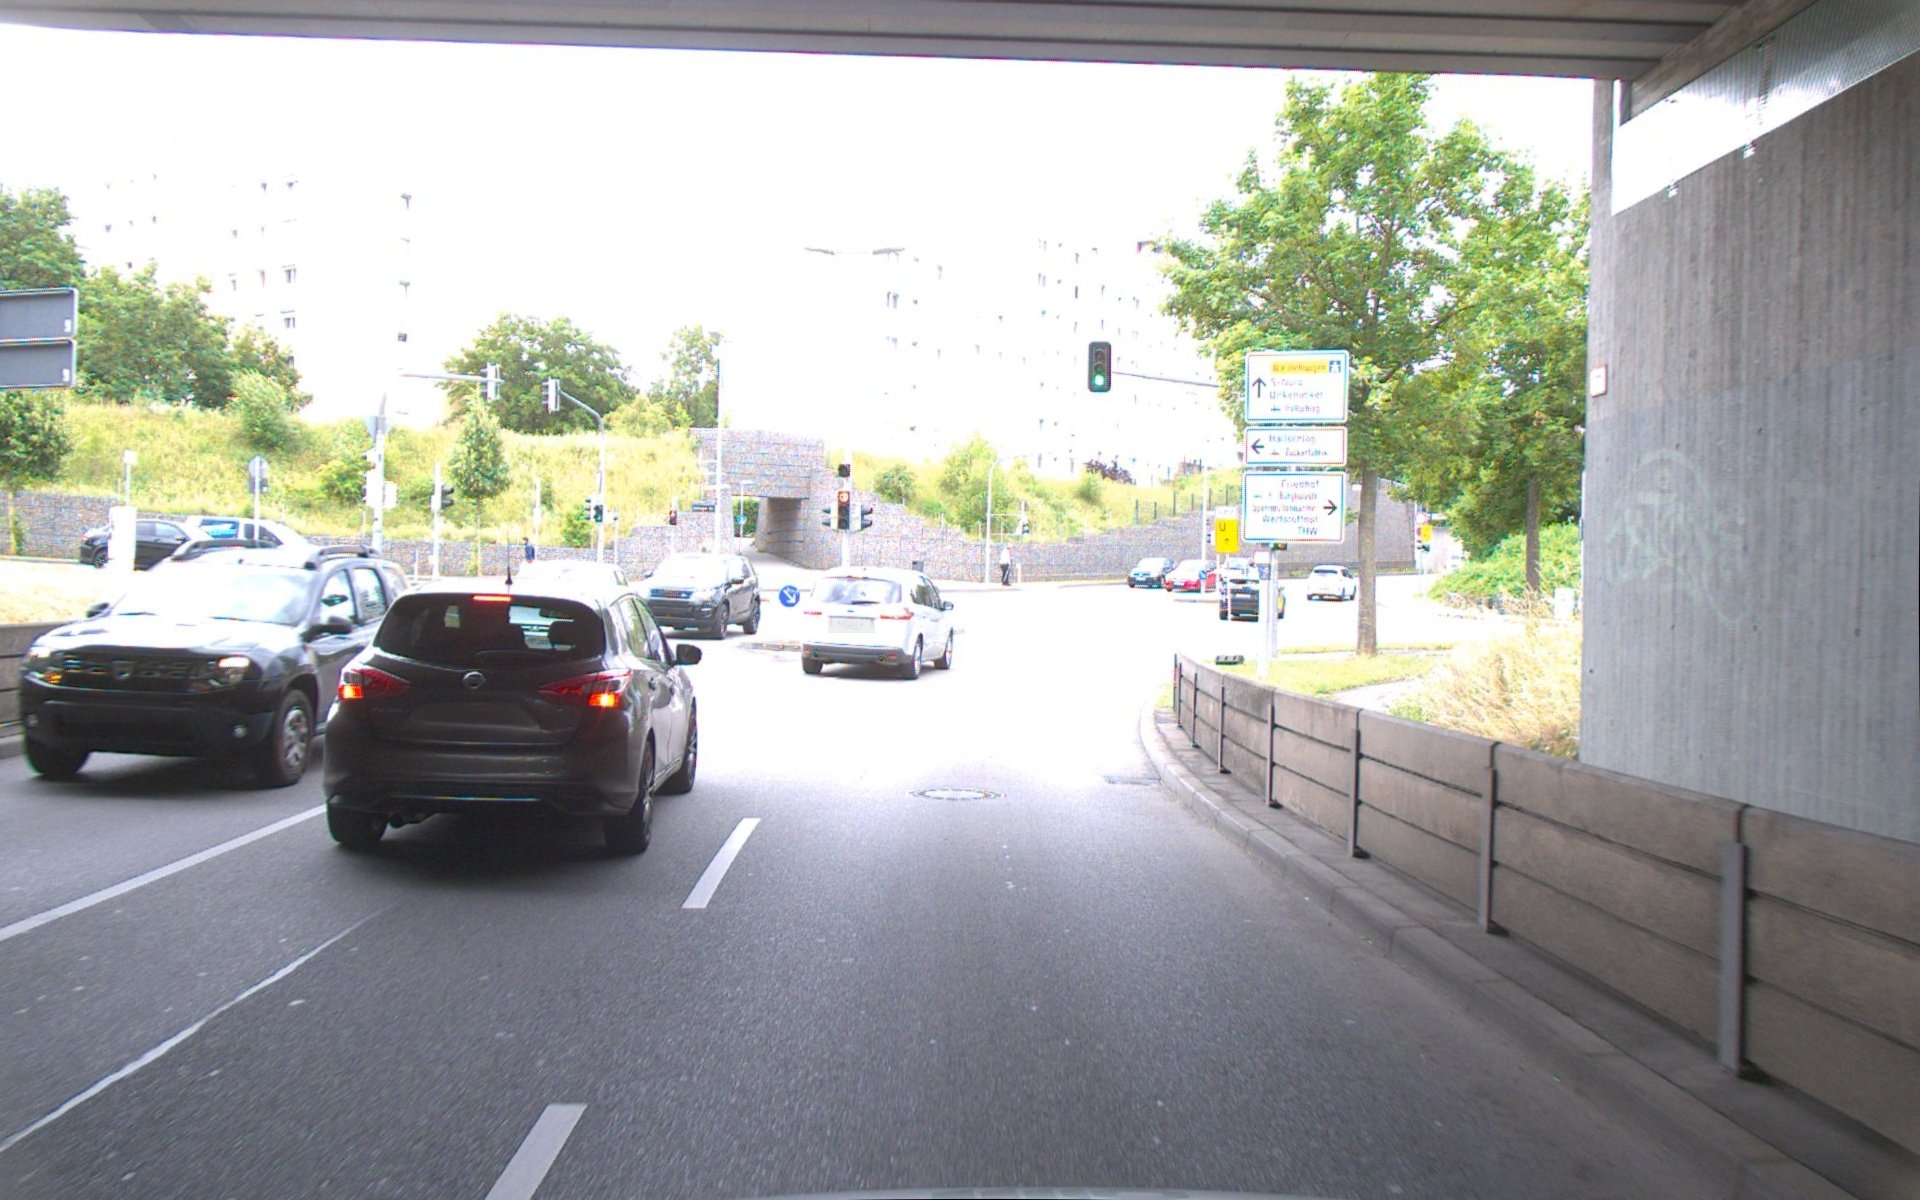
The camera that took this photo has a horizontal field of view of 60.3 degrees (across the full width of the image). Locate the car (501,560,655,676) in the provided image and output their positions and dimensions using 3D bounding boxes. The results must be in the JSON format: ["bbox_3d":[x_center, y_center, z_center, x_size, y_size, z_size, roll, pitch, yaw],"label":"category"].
[{"bbox_3d":[-5.829,0.231,25.673,1.729,1.619,3.996,1,1,-5],"label":"car"}]

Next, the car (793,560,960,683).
[{"bbox_3d":[-1.243,0.295,26.374,1.791,1.735,3.872,3,1,10],"label":"car"}]

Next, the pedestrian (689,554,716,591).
[{"bbox_3d":[-9.455,-1.017,60.678,0.894,1.245,0.727,5,1,-11],"label":"pedestrian"}]

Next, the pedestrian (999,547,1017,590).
[{"bbox_3d":[2.108,-1.396,73.245,0.594,1.895,0.595,2,1,-14],"label":"pedestrian"}]

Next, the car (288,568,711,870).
[{"bbox_3d":[-2.671,0.605,10.544,1.808,1.519,3.996,2,0,-4],"label":"car"}]

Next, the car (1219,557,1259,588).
[{"bbox_3d":[14.067,-1.378,83.244,1.138,1.389,2.501,5,1,28],"label":"car"}]

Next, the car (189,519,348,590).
[{"bbox_3d":[-20.583,-1.340,49.361,3.908,1.981,1.998,1,1,-4],"label":"car"}]

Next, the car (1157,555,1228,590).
[{"bbox_3d":[10.949,-1.273,77.703,1.808,1.479,3.992,6,3,30],"label":"car"}]

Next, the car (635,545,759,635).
[{"bbox_3d":[-5.430,-0.221,34.678,1.953,1.727,4.167,1,1,-1],"label":"car"}]

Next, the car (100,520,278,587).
[{"bbox_3d":[-21.006,-1.265,45.152,3.904,1.623,1.873,3,1,2],"label":"car"}]

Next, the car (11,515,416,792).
[{"bbox_3d":[-5.464,0.320,12.641,1.654,1.738,3.785,2,1,-6],"label":"car"}]

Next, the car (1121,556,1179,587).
[{"bbox_3d":[9.361,-1.388,81.293,1.818,1.384,4.000,3,1,22],"label":"car"}]

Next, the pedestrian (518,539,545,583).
[{"bbox_3d":[-16.456,-1.484,63.518,0.935,1.641,0.698,2,1,-12],"label":"pedestrian"}]

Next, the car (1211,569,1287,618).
[{"bbox_3d":[9.637,-0.208,54.934,1.860,1.492,4.001,2,1,19],"label":"car"}]

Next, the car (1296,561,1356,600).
[{"bbox_3d":[16.267,-0.861,73.361,1.953,1.646,4.000,2,1,21],"label":"car"}]
